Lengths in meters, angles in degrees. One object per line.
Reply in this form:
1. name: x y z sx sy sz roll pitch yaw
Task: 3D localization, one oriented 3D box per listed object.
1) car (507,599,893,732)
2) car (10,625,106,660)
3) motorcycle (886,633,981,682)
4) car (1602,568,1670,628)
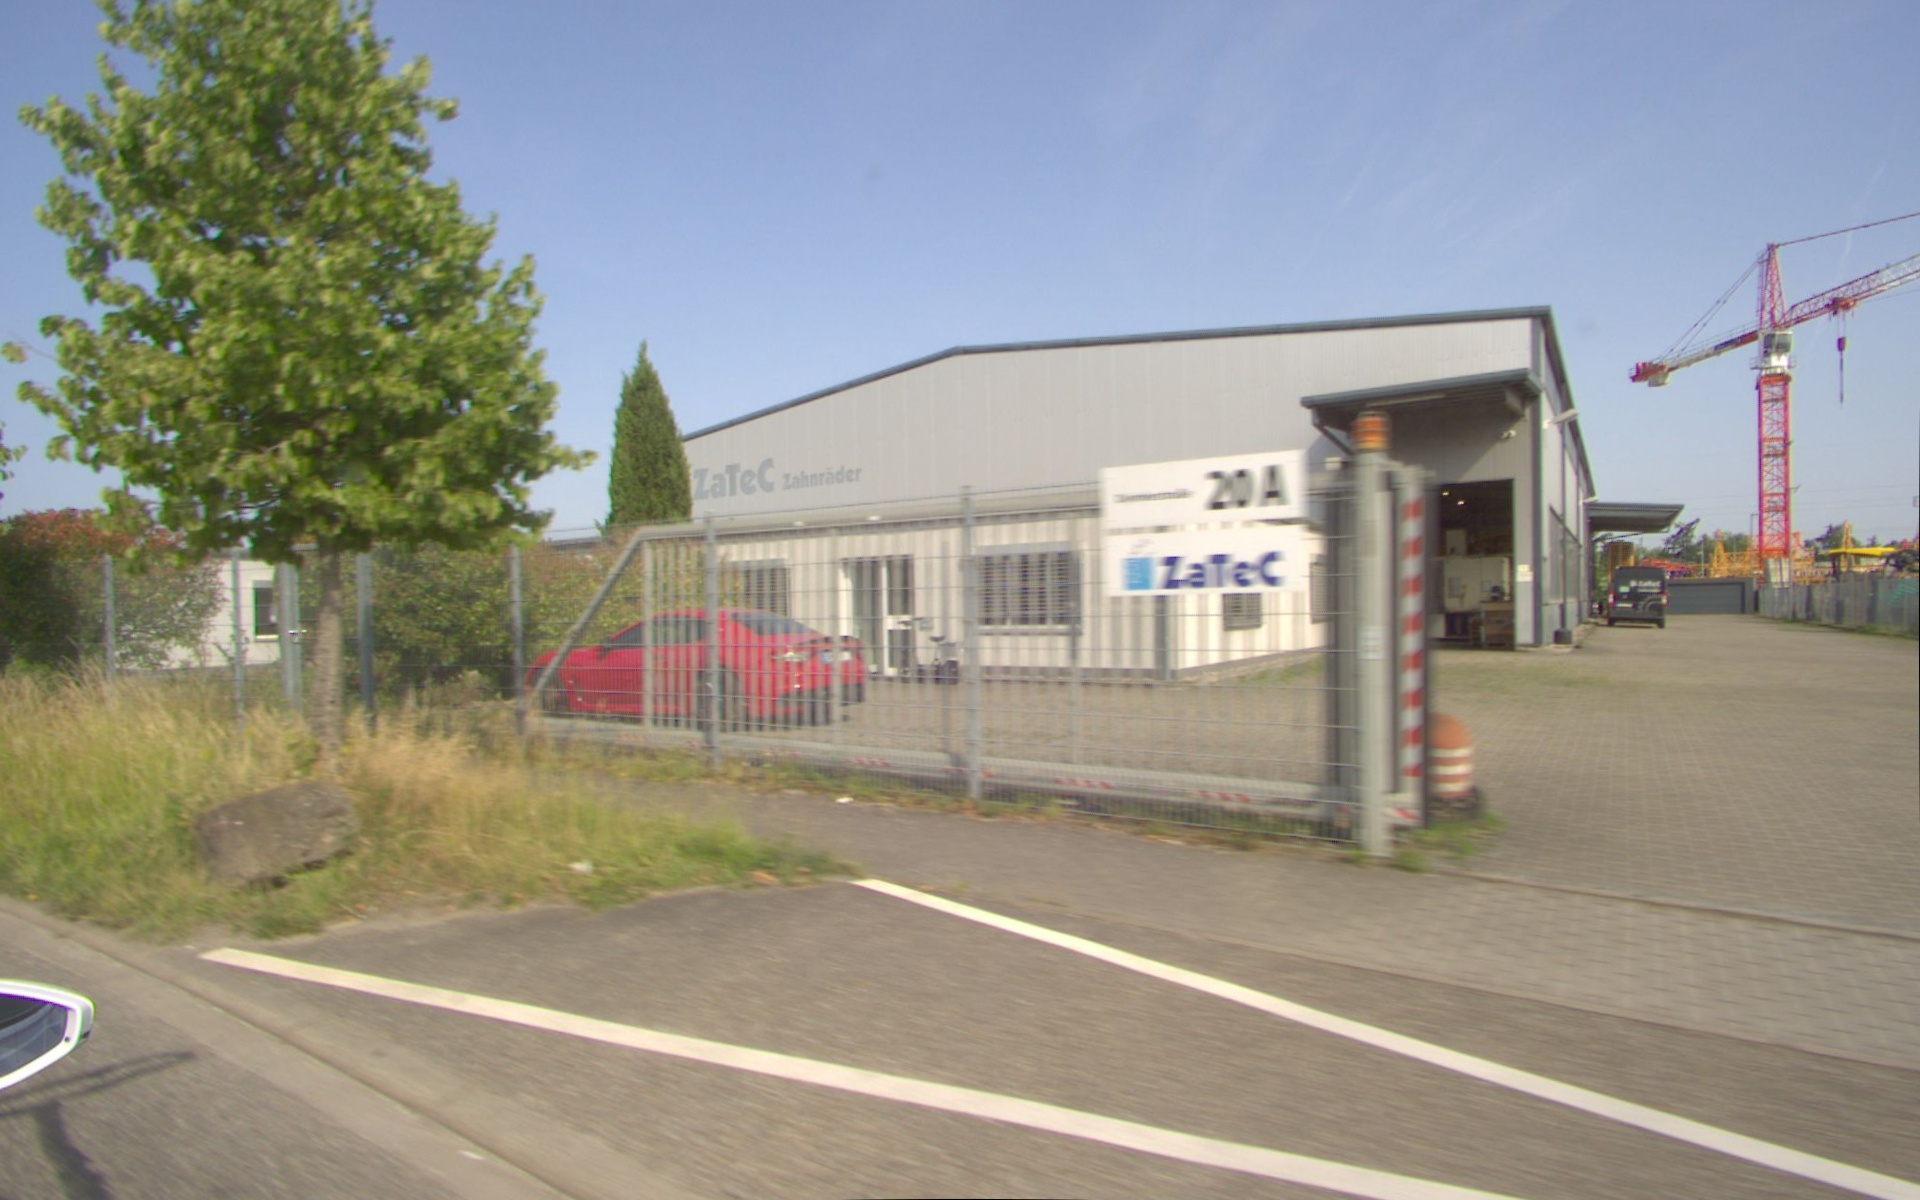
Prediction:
1. car: -3.295 0.706 12.405 4.703 1.376 1.877 -1 0 31
2. car: -37.293 1.745 41.380 3.938 1.397 1.709 -1 -2 28
3. motorcycle: -0.458 0.953 16.801 1.561 0.761 0.533 -1 2 34
4. car: 28.808 -0.099 42.713 2.194 2.422 4.677 2 1 34
